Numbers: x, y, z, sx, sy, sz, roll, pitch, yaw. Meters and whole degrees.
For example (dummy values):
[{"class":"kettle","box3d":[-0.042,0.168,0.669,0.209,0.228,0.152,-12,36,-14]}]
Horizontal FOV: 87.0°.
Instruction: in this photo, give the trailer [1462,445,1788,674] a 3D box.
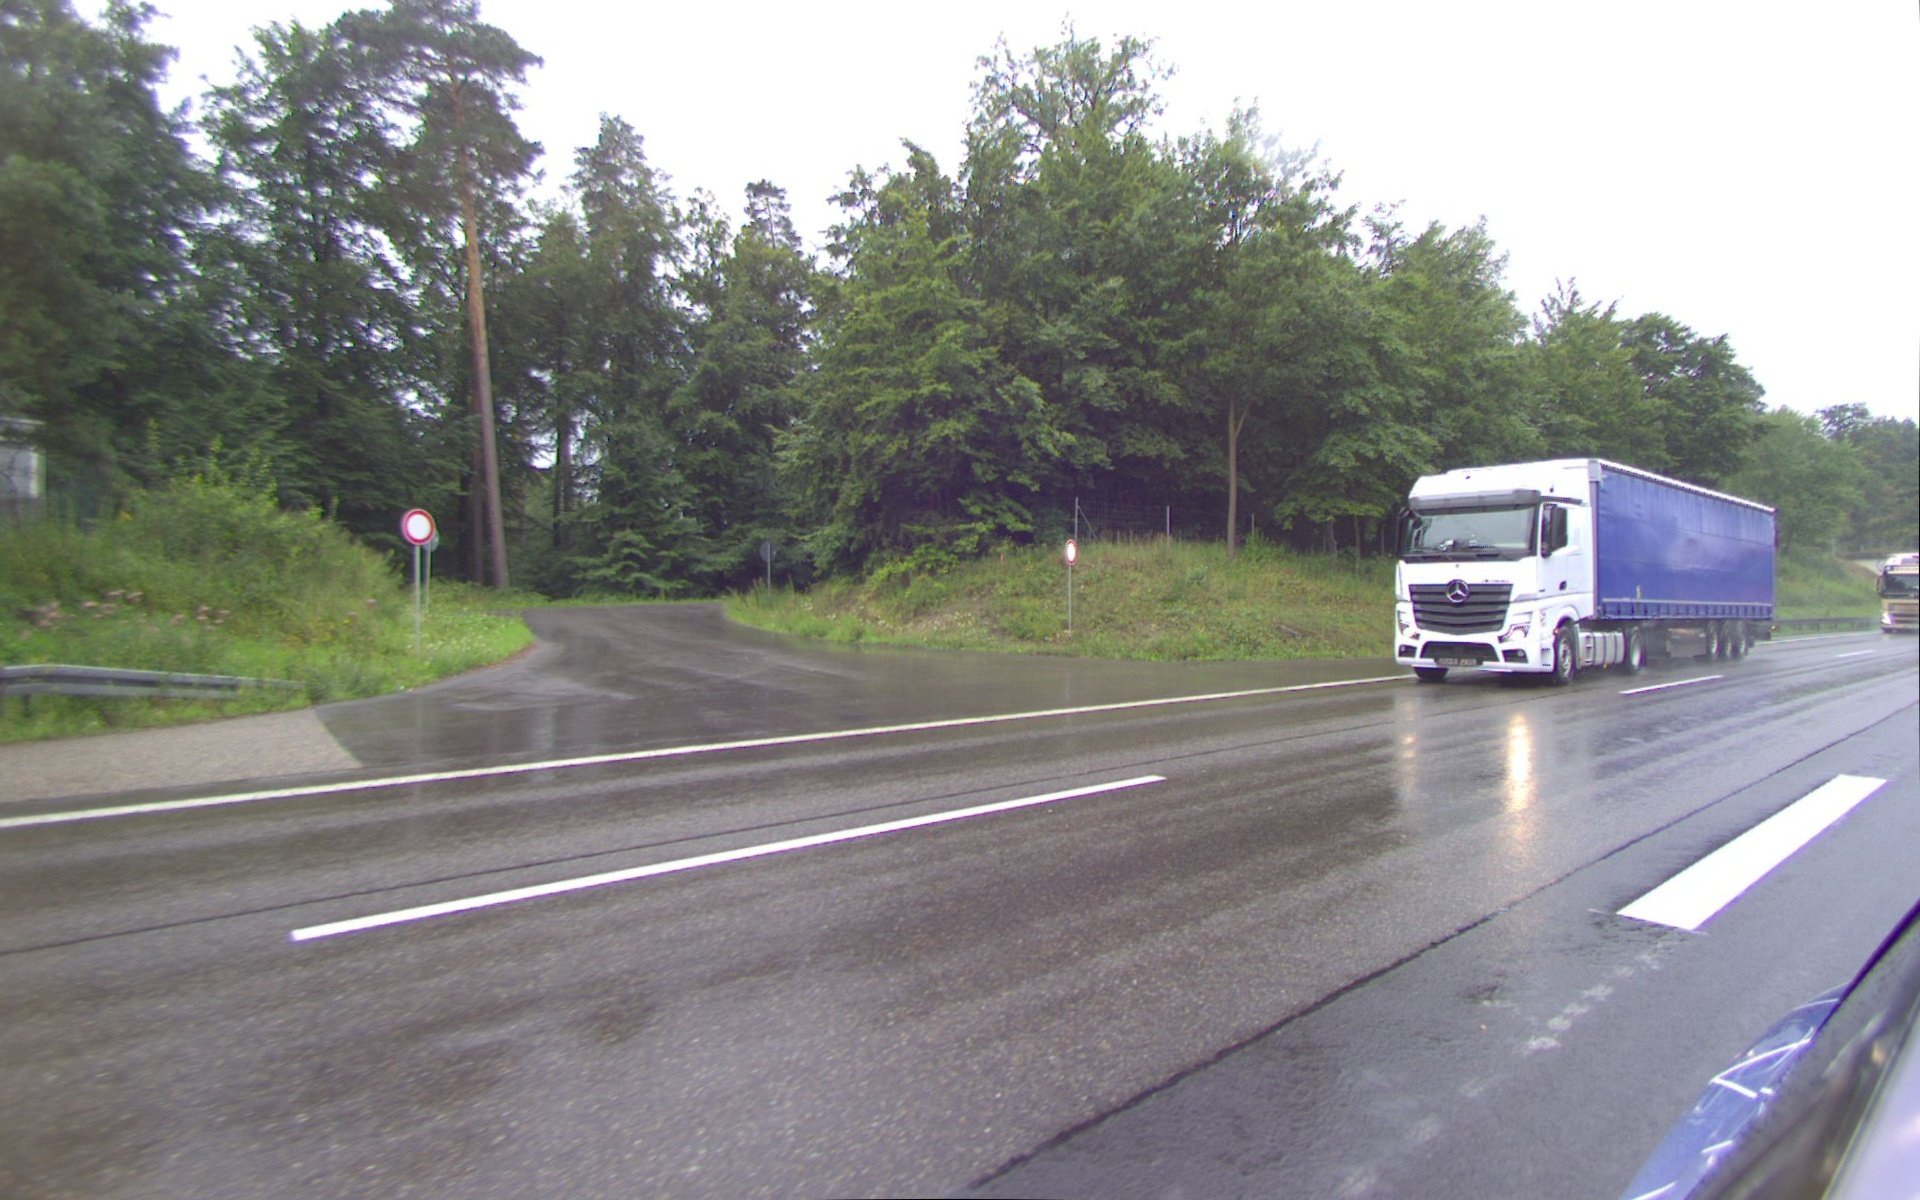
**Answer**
[{"class":"trailer","box3d":[15.808,-0.754,23.239,13.471,4.064,2.558,0,0,-40]}]

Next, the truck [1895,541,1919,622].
[{"class":"truck","box3d":[51.055,-0.924,52.575,9.766,4.007,2.606,0,0,-41]}]

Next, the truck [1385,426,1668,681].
[{"class":"truck","box3d":[10.779,-0.742,19.054,5.904,4.065,2.607,0,-1,-39]}]
